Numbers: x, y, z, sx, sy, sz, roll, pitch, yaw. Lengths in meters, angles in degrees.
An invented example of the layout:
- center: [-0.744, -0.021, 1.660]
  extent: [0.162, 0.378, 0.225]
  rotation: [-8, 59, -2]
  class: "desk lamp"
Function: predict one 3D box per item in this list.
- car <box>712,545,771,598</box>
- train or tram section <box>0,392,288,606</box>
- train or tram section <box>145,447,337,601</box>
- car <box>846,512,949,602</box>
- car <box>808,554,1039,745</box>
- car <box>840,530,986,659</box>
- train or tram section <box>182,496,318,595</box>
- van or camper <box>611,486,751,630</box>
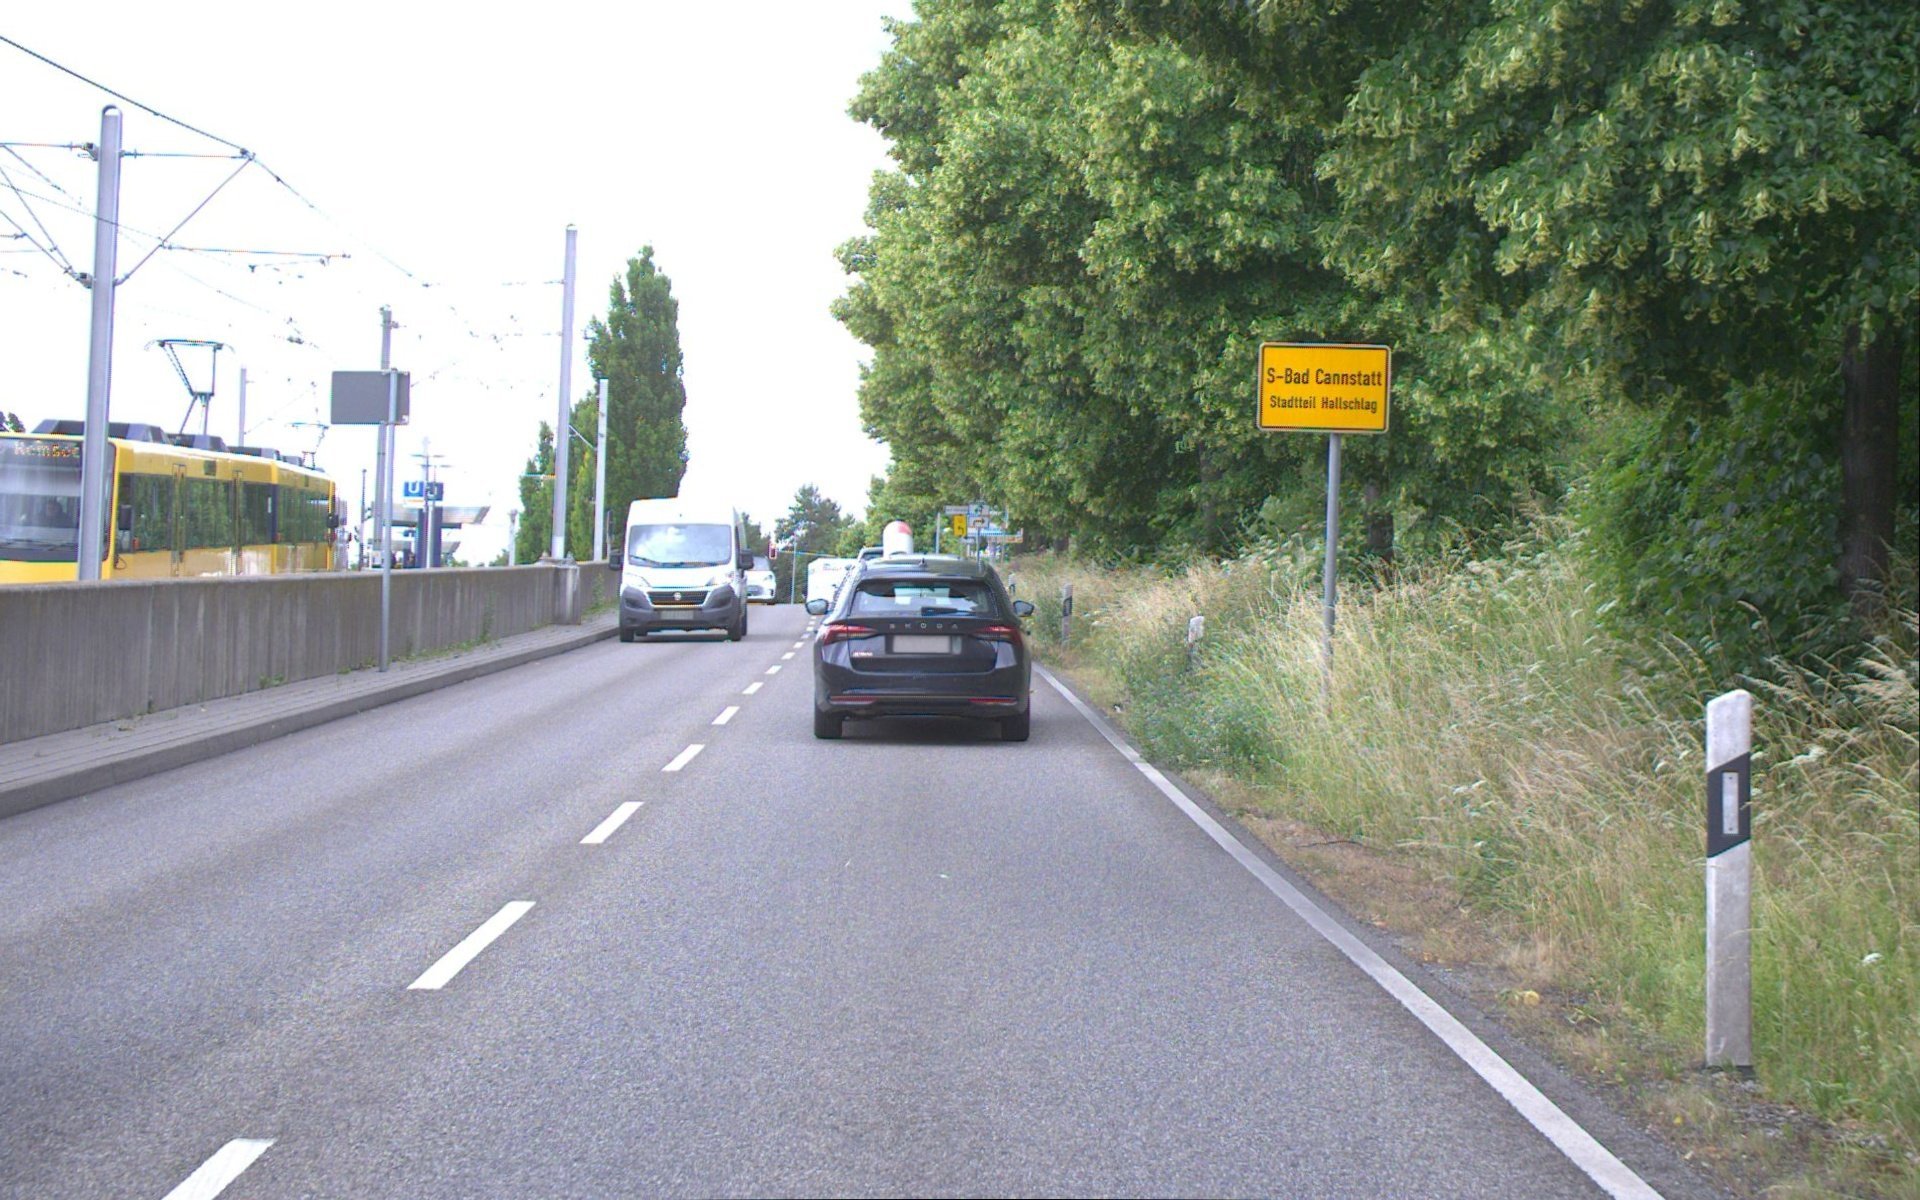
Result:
- center: [-6.715, -0.894, 105.200]
  extent: [1.731, 1.566, 4.001]
  rotation: [-1, 1, -4]
  class: "car"
- center: [-14.265, -1.501, 59.445]
  extent: [2.811, 3.106, 18.918]
  rotation: [0, 0, -4]
  class: "train or tram section"
- center: [-16.090, -1.550, 78.212]
  extent: [2.803, 3.066, 19.106]
  rotation: [0, 0, -7]
  class: "train or tram section"
- center: [-1.253, -0.843, 68.793]
  extent: [1.993, 1.734, 4.000]
  rotation: [0, 0, -1]
  class: "car"
- center: [-0.315, 0.359, 28.779]
  extent: [1.781, 1.463, 4.000]
  rotation: [1, 1, -1]
  class: "car"
- center: [-0.685, -0.102, 49.457]
  extent: [1.993, 1.747, 4.000]
  rotation: [1, 1, -1]
  class: "car"
- center: [-23.949, -1.712, 115.130]
  extent: [2.795, 3.012, 18.886]
  rotation: [0, 0, -17]
  class: "train or tram section"
- center: [-4.843, -0.742, 60.400]
  extent: [2.082, 2.388, 6.138]
  rotation: [1, 1, -1]
  class: "van or camper"
